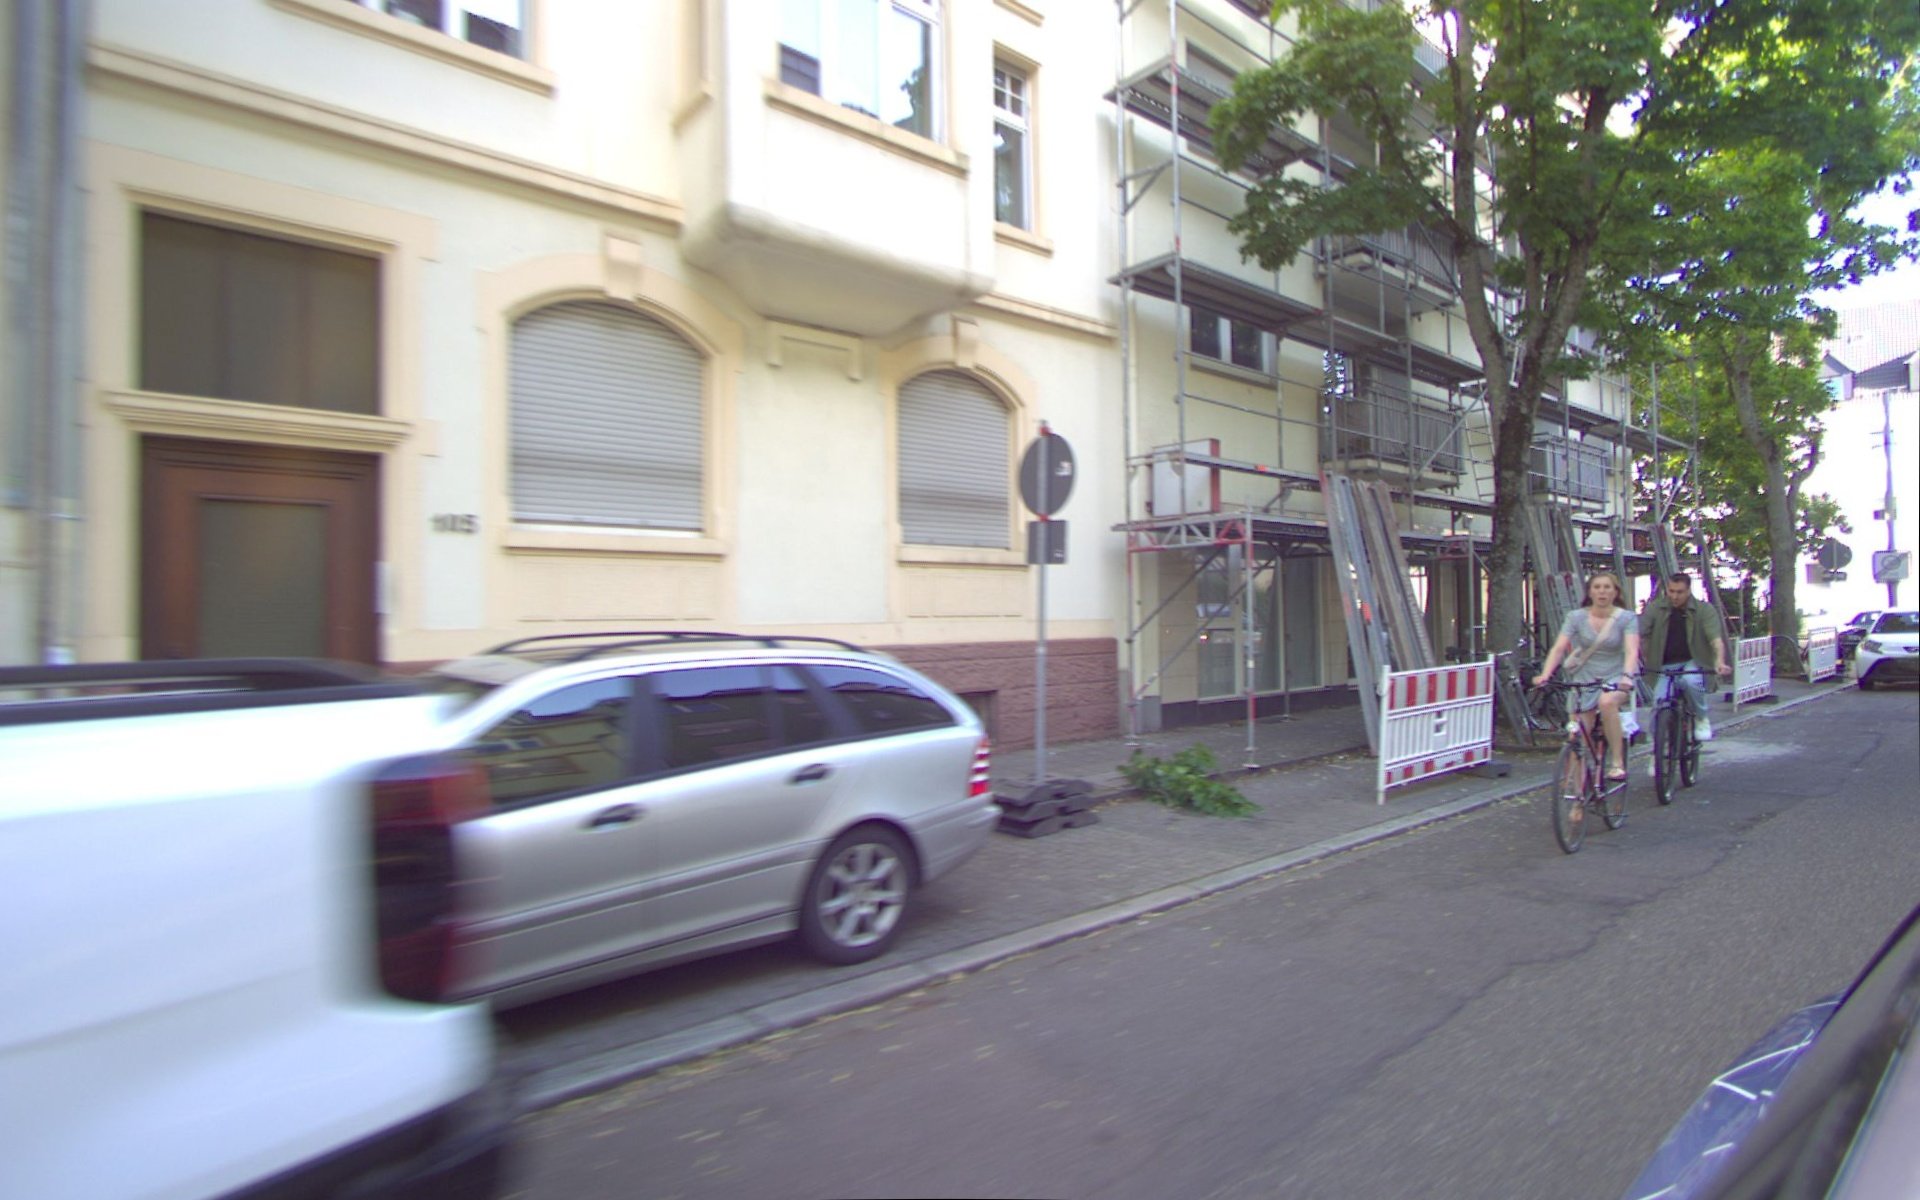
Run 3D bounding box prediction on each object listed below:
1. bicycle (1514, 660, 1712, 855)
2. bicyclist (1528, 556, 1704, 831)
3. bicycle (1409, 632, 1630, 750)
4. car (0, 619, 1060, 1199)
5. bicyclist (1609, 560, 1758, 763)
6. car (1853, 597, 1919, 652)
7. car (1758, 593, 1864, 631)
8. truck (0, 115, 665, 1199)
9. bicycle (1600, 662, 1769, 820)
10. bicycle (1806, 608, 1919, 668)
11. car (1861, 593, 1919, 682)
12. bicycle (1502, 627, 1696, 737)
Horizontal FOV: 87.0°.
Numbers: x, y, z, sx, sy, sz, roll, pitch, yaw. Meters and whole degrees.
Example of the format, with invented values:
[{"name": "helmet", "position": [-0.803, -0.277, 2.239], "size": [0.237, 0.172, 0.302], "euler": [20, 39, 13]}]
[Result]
[{"name": "bicycle", "position": [4.485, 0.997, 6.894], "size": [0.705, 1.059, 1.828], "euler": [-7, -4, 44]}, {"name": "bicyclist", "position": [4.482, 0.599, 6.910], "size": [0.714, 1.711, 0.965], "euler": [-6, -4, 45]}, {"name": "bicycle", "position": [6.017, 0.933, 11.018], "size": [0.732, 1.136, 1.984], "euler": [0, -2, -29]}, {"name": "car", "position": [-1.679, 0.854, 4.367], "size": [4.352, 1.440, 1.683], "euler": [0, 0, -41]}, {"name": "bicyclist", "position": [6.082, 0.491, 8.507], "size": [0.964, 1.585, 0.756], "euler": [0, -3, -42]}, {"name": "car", "position": [26.973, 0.646, 28.863], "size": [4.428, 1.425, 1.664], "euler": [0, 2, -41]}, {"name": "car", "position": [39.697, 0.576, 47.260], "size": [3.692, 1.628, 1.624], "euler": [-3, -2, 43]}, {"name": "truck", "position": [-3.087, 0.527, 0.409], "size": [5.443, 1.974, 1.831], "euler": [0, -2, -40]}, {"name": "bicycle", "position": [6.105, 1.111, 8.489], "size": [1.826, 1.073, 0.739], "euler": [-1, -2, -43]}, {"name": "bicycle", "position": [19.633, 0.806, 21.883], "size": [1.960, 1.169, 0.742], "euler": [2, 2, 36]}, {"name": "car", "position": [18.463, 0.641, 18.888], "size": [3.893, 1.555, 1.806], "euler": [0, -2, -39]}, {"name": "bicycle", "position": [7.303, 0.891, 11.698], "size": [0.732, 1.136, 1.932], "euler": [-1, -2, -11]}]
